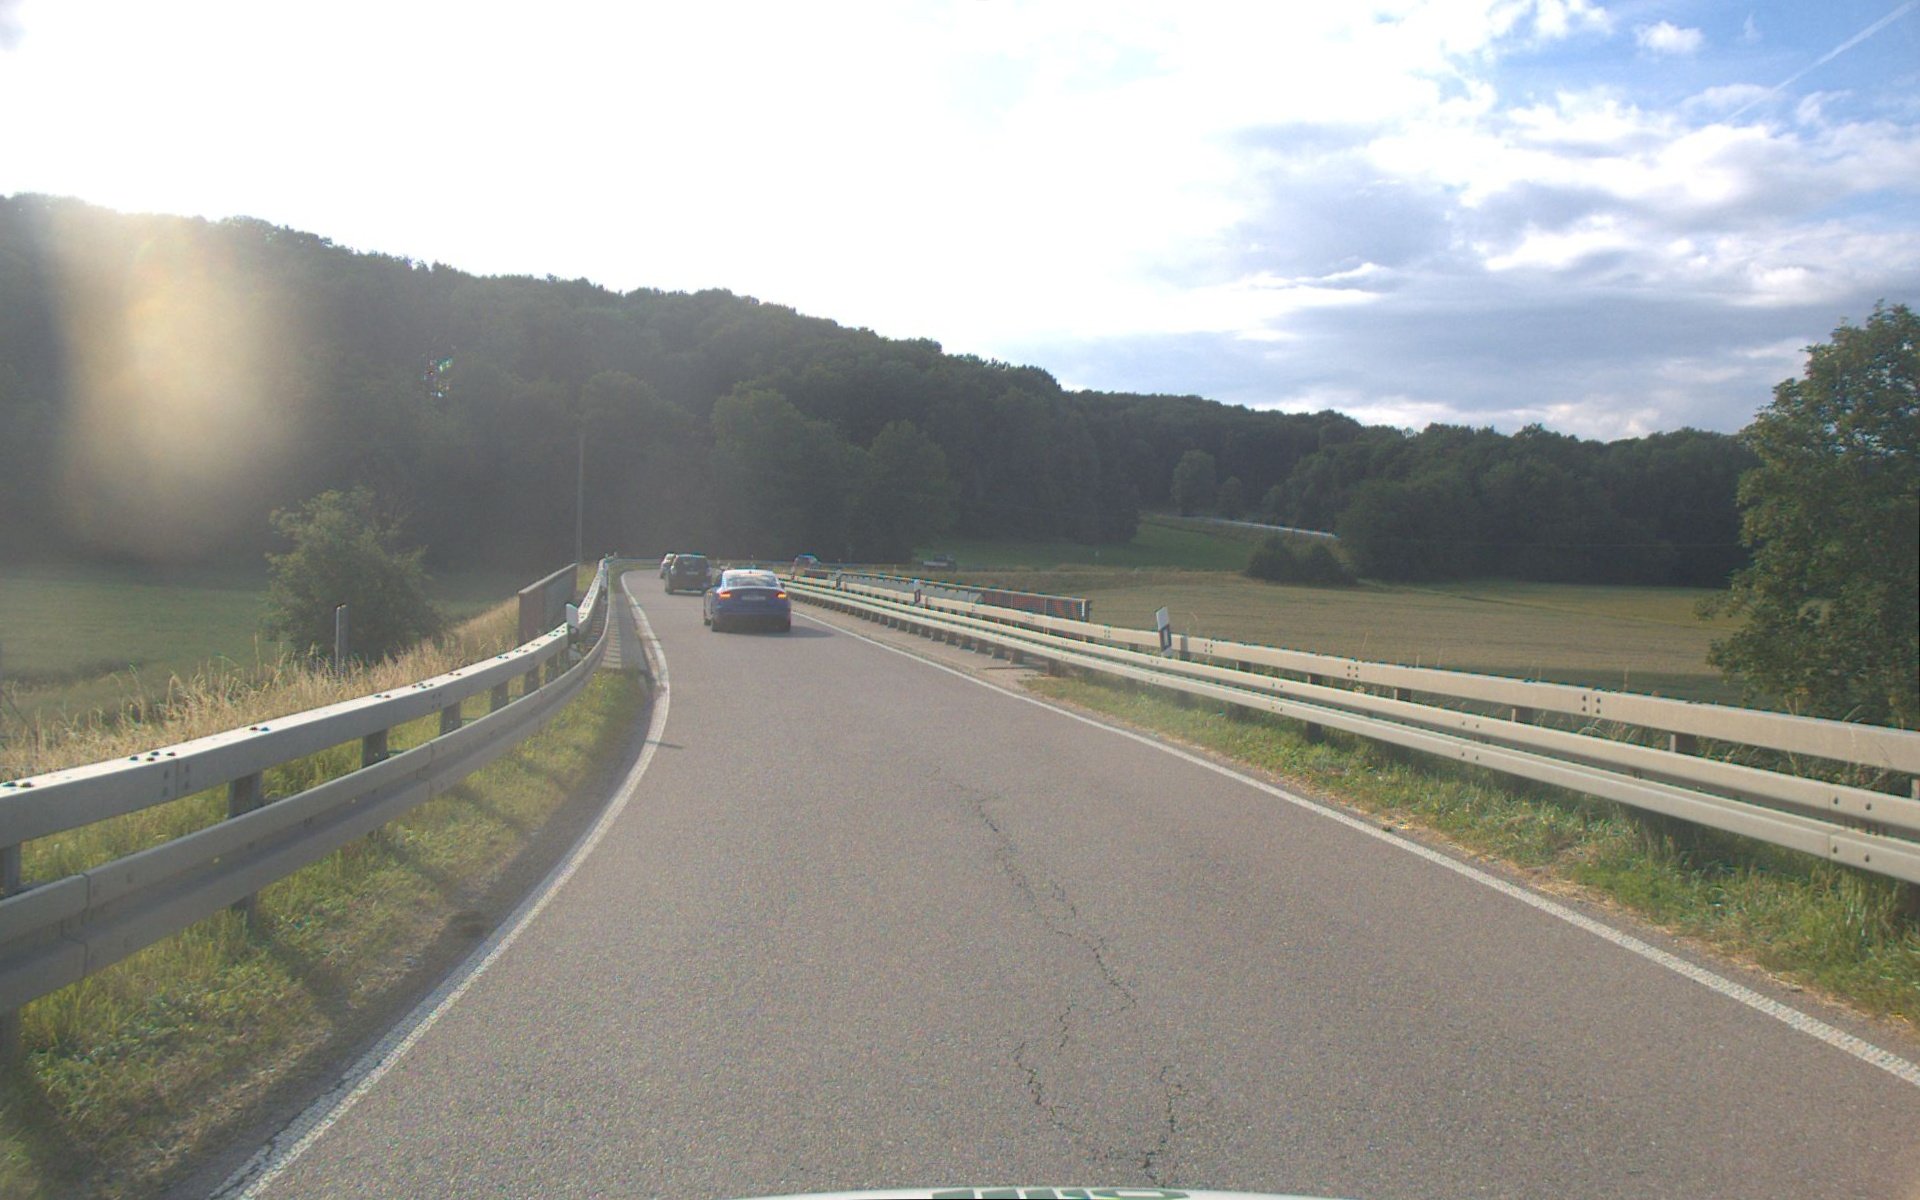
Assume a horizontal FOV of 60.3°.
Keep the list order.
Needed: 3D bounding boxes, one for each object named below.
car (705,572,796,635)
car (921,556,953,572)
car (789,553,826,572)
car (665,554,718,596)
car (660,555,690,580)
[{"bbox_3d":[-4.961,0.043,38.725,1.786,1.362,4.337,0,1,-12],"label":"car"},{"bbox_3d":[-2.769,-4.347,200.514,1.959,1.802,3.988,1,1,34],"label":"car"},{"bbox_3d":[-15.556,-3.827,168.695,1.954,1.708,4.177,4,0,23],"label":"car"},{"bbox_3d":[-11.067,-1.046,68.047,1.830,1.596,3.987,2,1,-14],"label":"car"},{"bbox_3d":[-16.580,-1.896,96.244,1.652,1.400,3.991,2,1,-10],"label":"car"}]
